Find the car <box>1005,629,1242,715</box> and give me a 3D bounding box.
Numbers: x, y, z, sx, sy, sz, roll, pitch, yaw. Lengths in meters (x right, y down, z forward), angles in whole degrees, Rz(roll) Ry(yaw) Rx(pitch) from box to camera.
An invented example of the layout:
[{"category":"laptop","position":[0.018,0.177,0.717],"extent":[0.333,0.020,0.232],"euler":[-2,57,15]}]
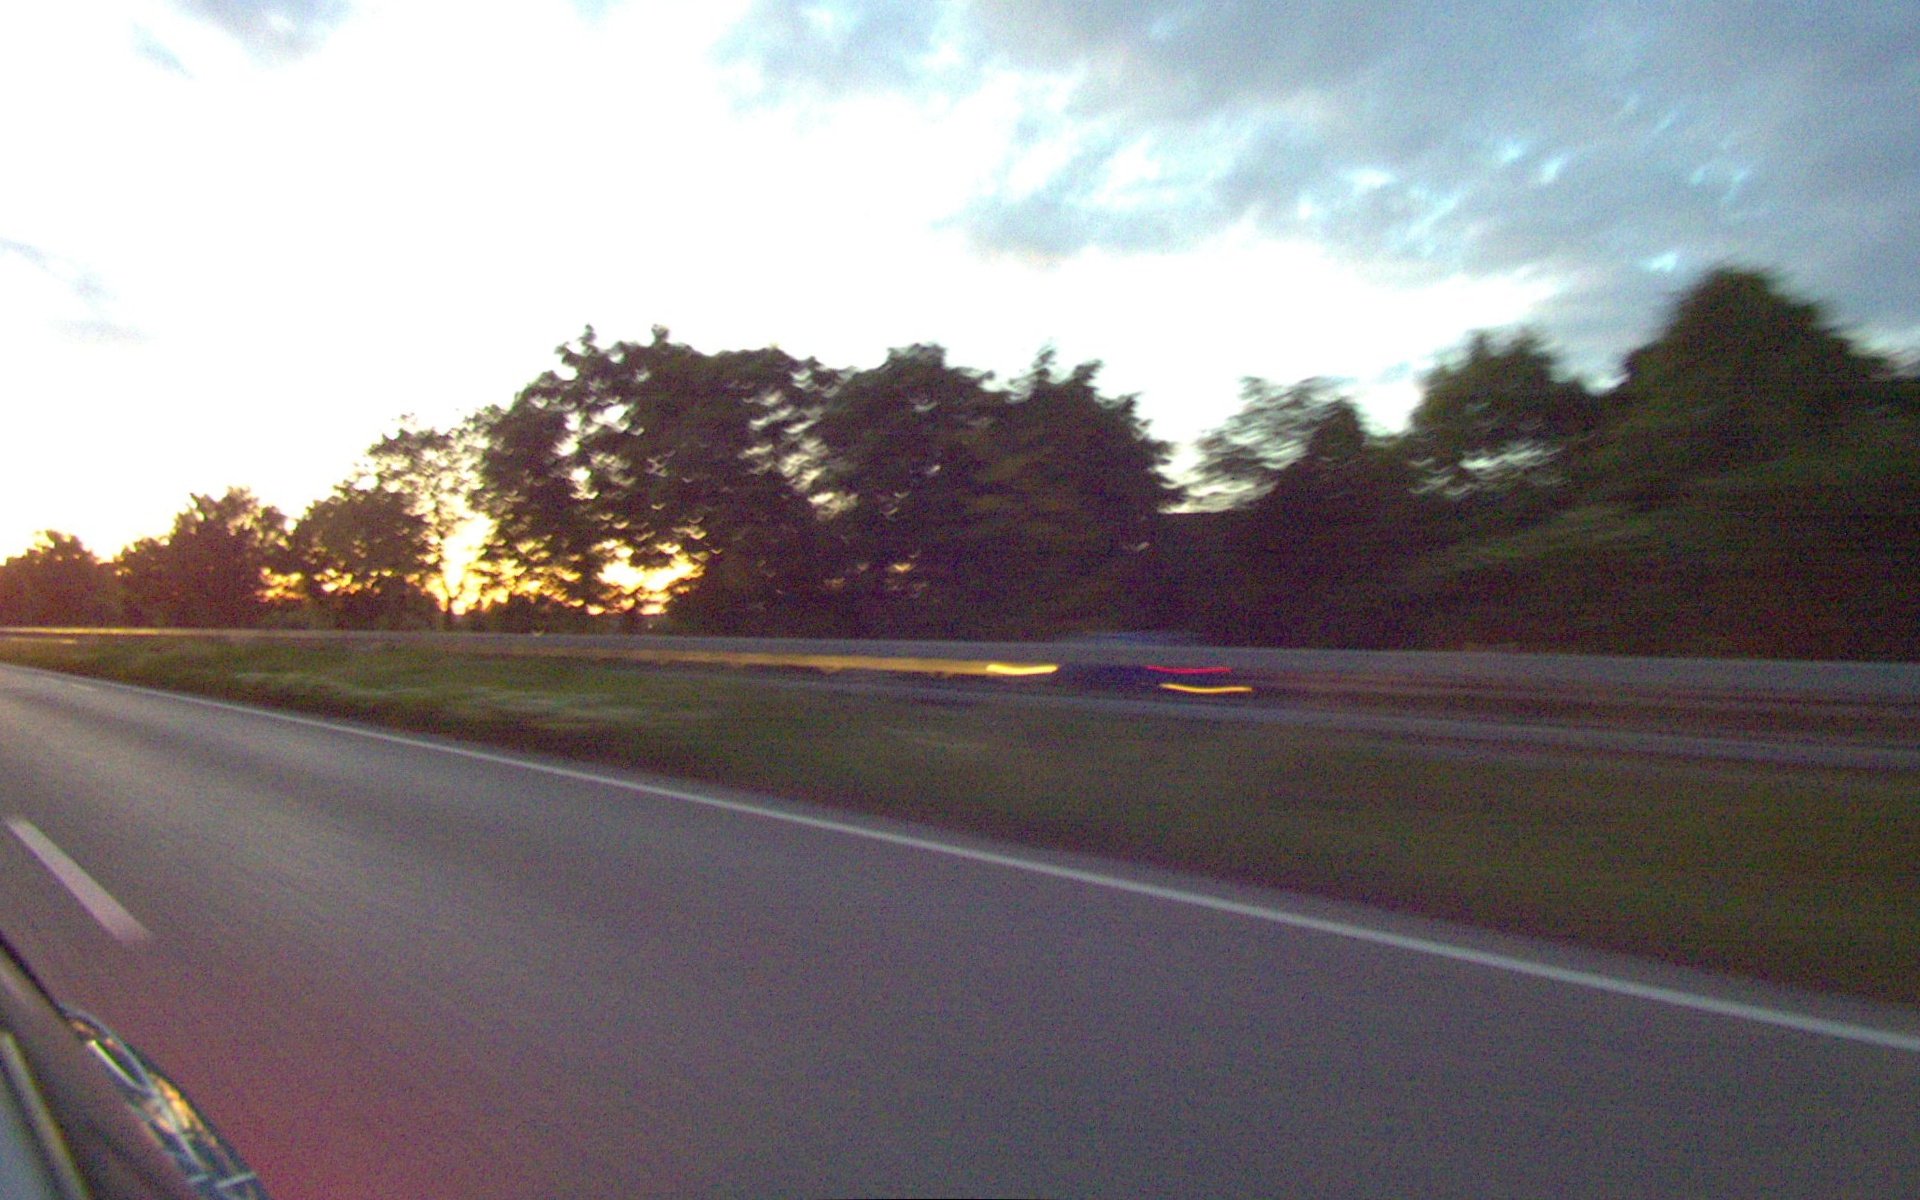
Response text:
[{"category":"car","position":[2.837,1.202,18.111],"extent":[3.939,1.333,1.612],"euler":[-1,-1,42]}]
